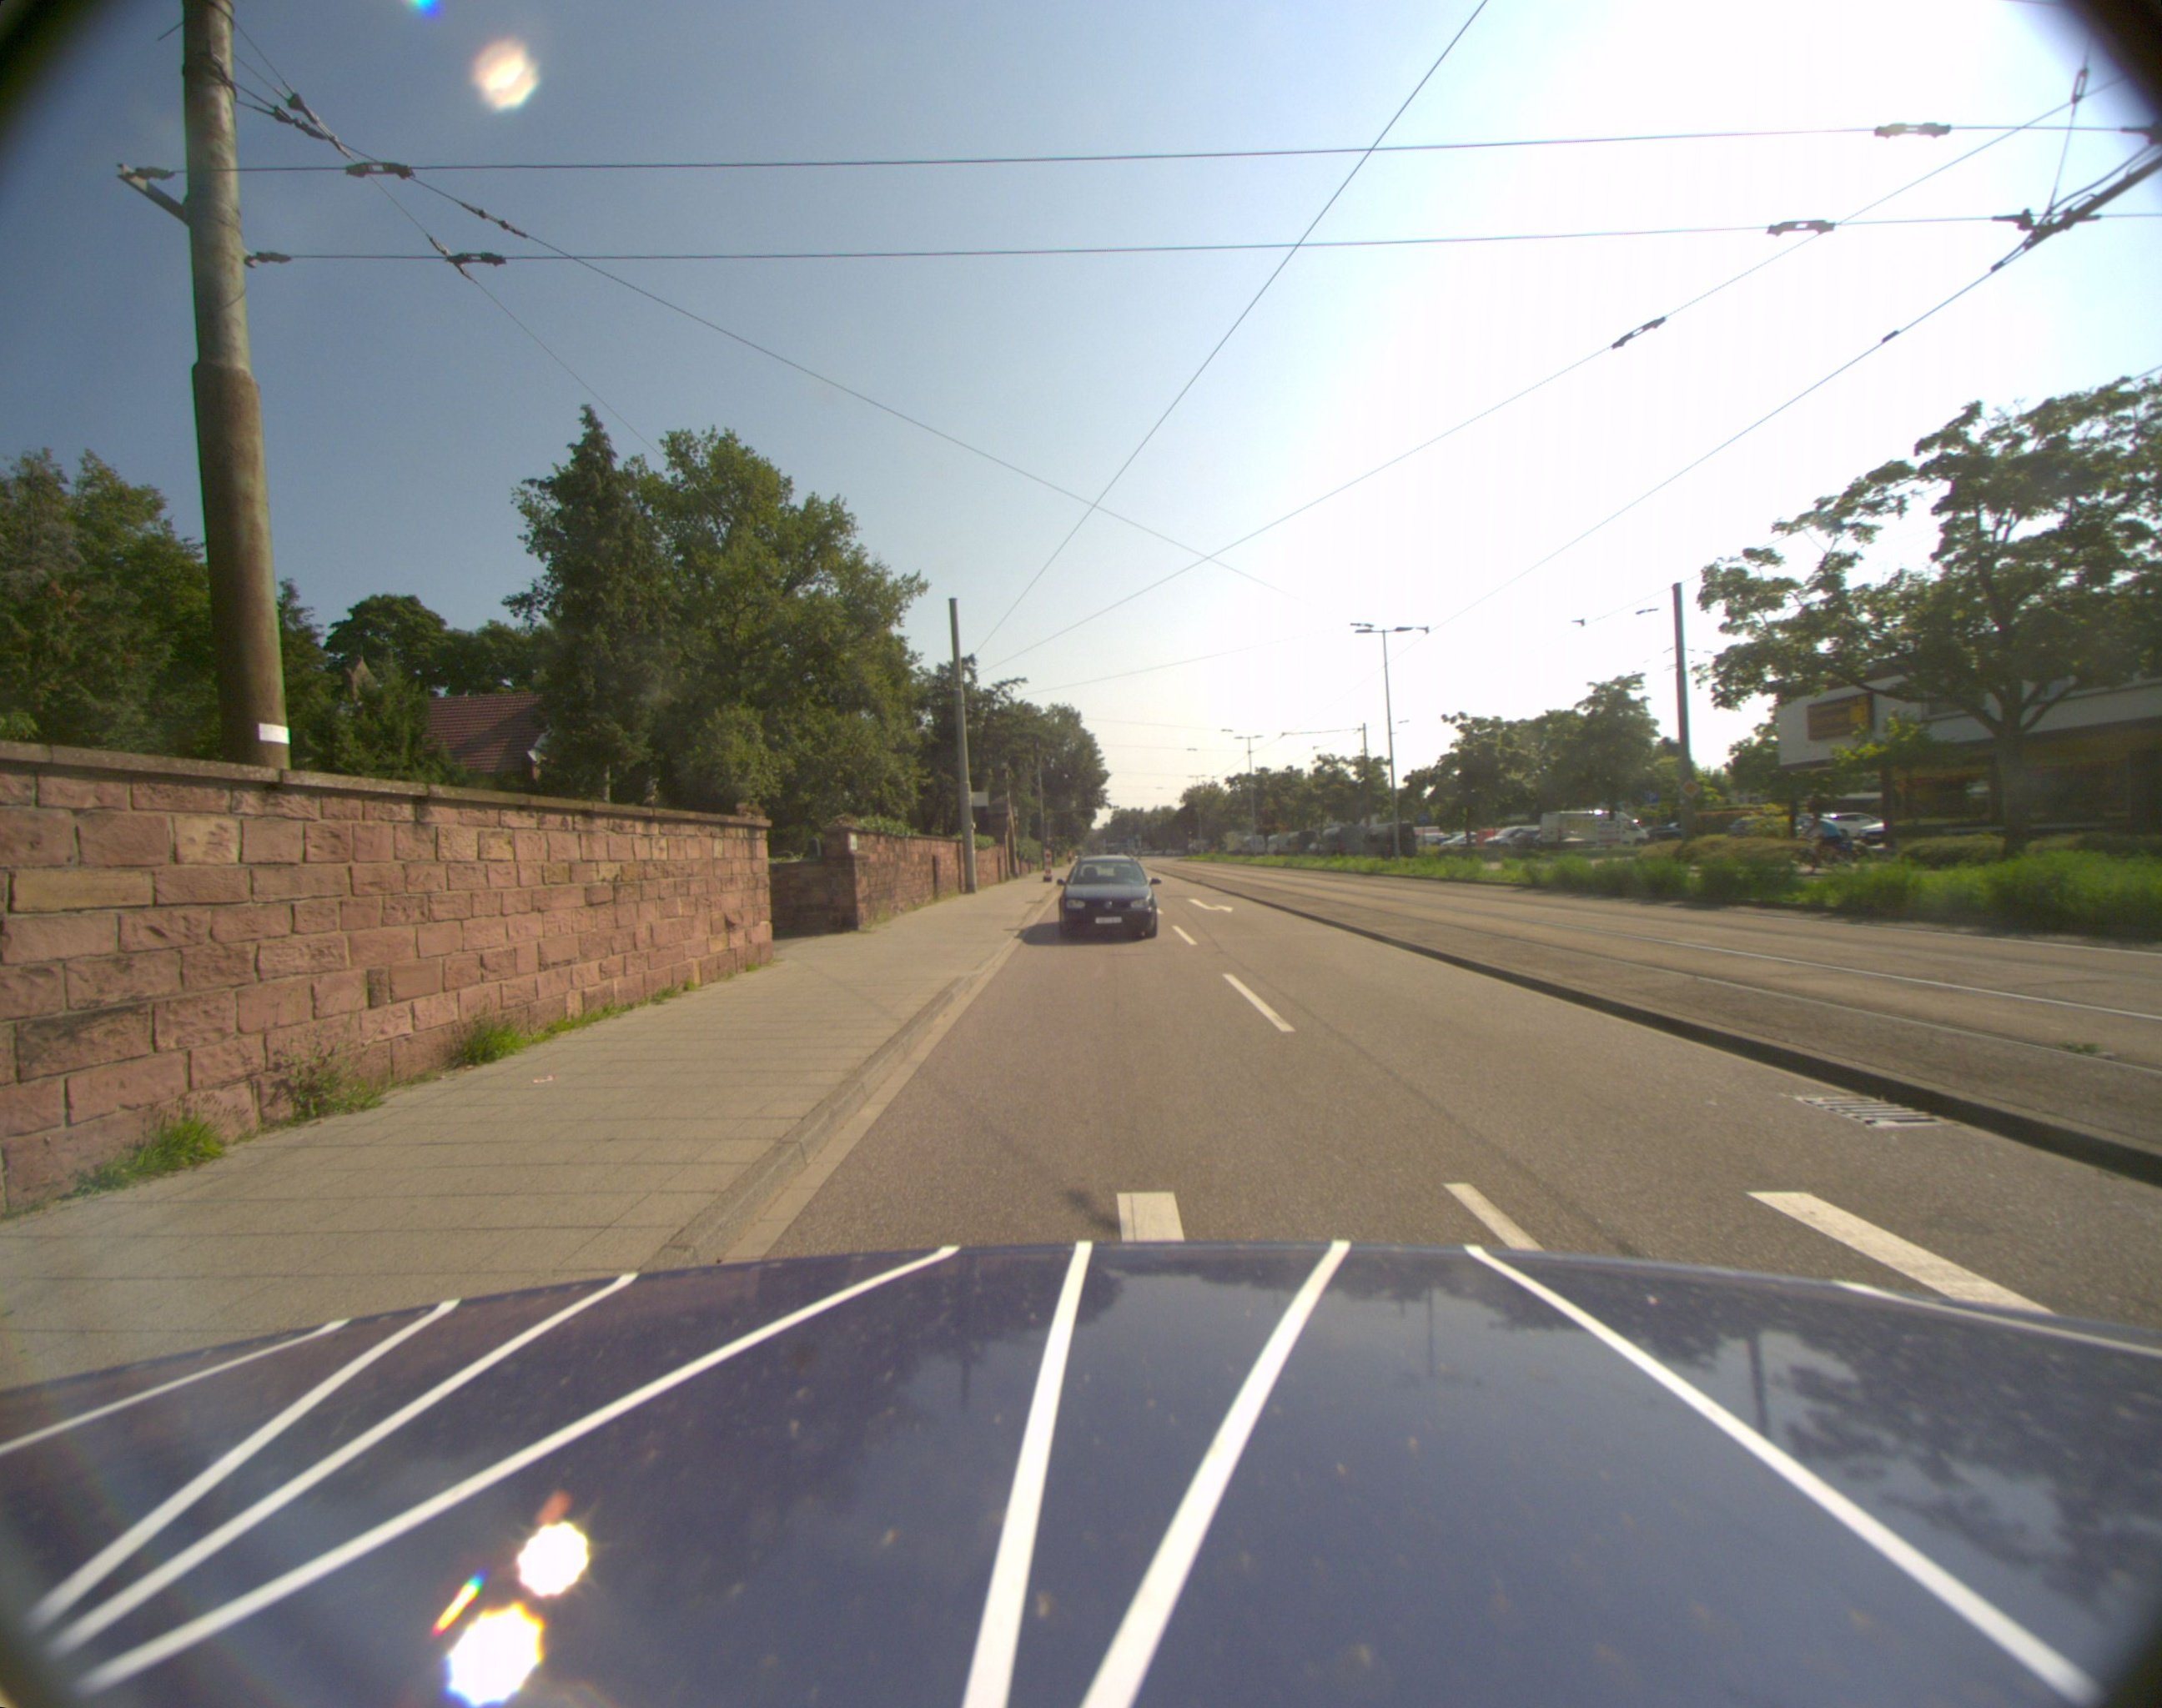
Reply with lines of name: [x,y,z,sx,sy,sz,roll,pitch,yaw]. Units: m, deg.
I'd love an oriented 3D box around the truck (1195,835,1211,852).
truck: [24.036,-2.040,150.299,2.278,3.104,8.788,-1,1,4]

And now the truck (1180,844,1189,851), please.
truck: [24.497,-1.477,180.563,1.691,1.665,3.655,-1,1,2]

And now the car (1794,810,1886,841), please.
car: [44.067,-1.668,44.159,3.455,1.494,1.875,-5,3,-2]

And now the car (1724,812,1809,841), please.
car: [44.841,-1.749,49.748,3.810,1.758,1.759,-1,1,7]

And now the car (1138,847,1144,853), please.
car: [18.354,-1.259,233.264,1.929,1.511,3.949,-1,1,4]

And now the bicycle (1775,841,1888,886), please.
bicycle: [19.151,0.214,19.479,0.717,1.085,2.265,-1,1,2]

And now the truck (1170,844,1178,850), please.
truck: [23.838,-1.787,194.717,1.691,1.665,3.655,-1,1,2]

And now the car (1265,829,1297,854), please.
car: [21.799,-1.374,83.155,2.137,2.571,5.631,-1,1,2]

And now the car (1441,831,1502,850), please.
car: [32.180,-1.110,62.672,4.166,1.455,1.625,-2,1,2]

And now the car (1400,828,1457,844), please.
car: [33.414,-1.727,73.129,4.665,1.441,1.633,-1,1,0]

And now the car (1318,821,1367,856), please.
car: [21.427,-1.242,62.592,1.993,2.571,6.467,-4,1,3]

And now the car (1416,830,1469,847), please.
car: [32.306,-1.368,67.903,3.933,1.441,1.633,-1,1,0]

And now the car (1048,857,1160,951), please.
car: [0.450,0.807,14.058,1.776,1.416,3.935,-1,1,2]

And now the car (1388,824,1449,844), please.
car: [33.779,-1.990,76.204,5.198,1.914,2.052,-1,1,0]

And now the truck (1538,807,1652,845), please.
truck: [31.816,-1.692,47.131,5.503,2.160,2.259,-1,1,0]

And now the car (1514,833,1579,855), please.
car: [31.591,-0.665,51.651,3.413,1.418,1.633,-1,1,0]

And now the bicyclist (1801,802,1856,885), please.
bicyclist: [19.130,-0.265,19.453,0.639,2.052,0.774,-1,1,2]

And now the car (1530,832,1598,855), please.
car: [31.606,-0.685,49.742,3.413,1.418,1.633,-1,1,0]

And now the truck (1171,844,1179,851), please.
truck: [23.655,-1.674,190.825,1.691,1.665,3.655,-1,1,2]

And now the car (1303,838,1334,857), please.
car: [21.500,-0.615,69.001,1.748,1.543,3.834,-4,1,4]

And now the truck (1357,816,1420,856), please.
truck: [21.195,-1.213,52.637,2.086,2.533,5.738,-1,1,1]

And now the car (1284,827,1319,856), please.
car: [21.683,-1.206,74.970,1.826,2.571,5.910,-4,0,3]

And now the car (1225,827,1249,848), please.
car: [21.914,-2.314,107.141,2.129,2.789,7.231,-1,1,2]

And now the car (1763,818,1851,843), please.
car: [44.314,-1.420,46.443,3.713,1.335,1.492,-3,1,9]

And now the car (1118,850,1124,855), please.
car: [12.071,-0.554,227.915,1.726,1.317,4.000,-1,1,1]

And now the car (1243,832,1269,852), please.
car: [22.383,-1.511,97.342,2.148,2.444,4.831,-1,1,0]

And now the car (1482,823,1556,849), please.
car: [31.557,-1.295,54.801,4.409,1.774,1.633,-1,1,0]

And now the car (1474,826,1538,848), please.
car: [32.164,-1.290,57.560,3.933,1.510,1.633,-1,1,0]
